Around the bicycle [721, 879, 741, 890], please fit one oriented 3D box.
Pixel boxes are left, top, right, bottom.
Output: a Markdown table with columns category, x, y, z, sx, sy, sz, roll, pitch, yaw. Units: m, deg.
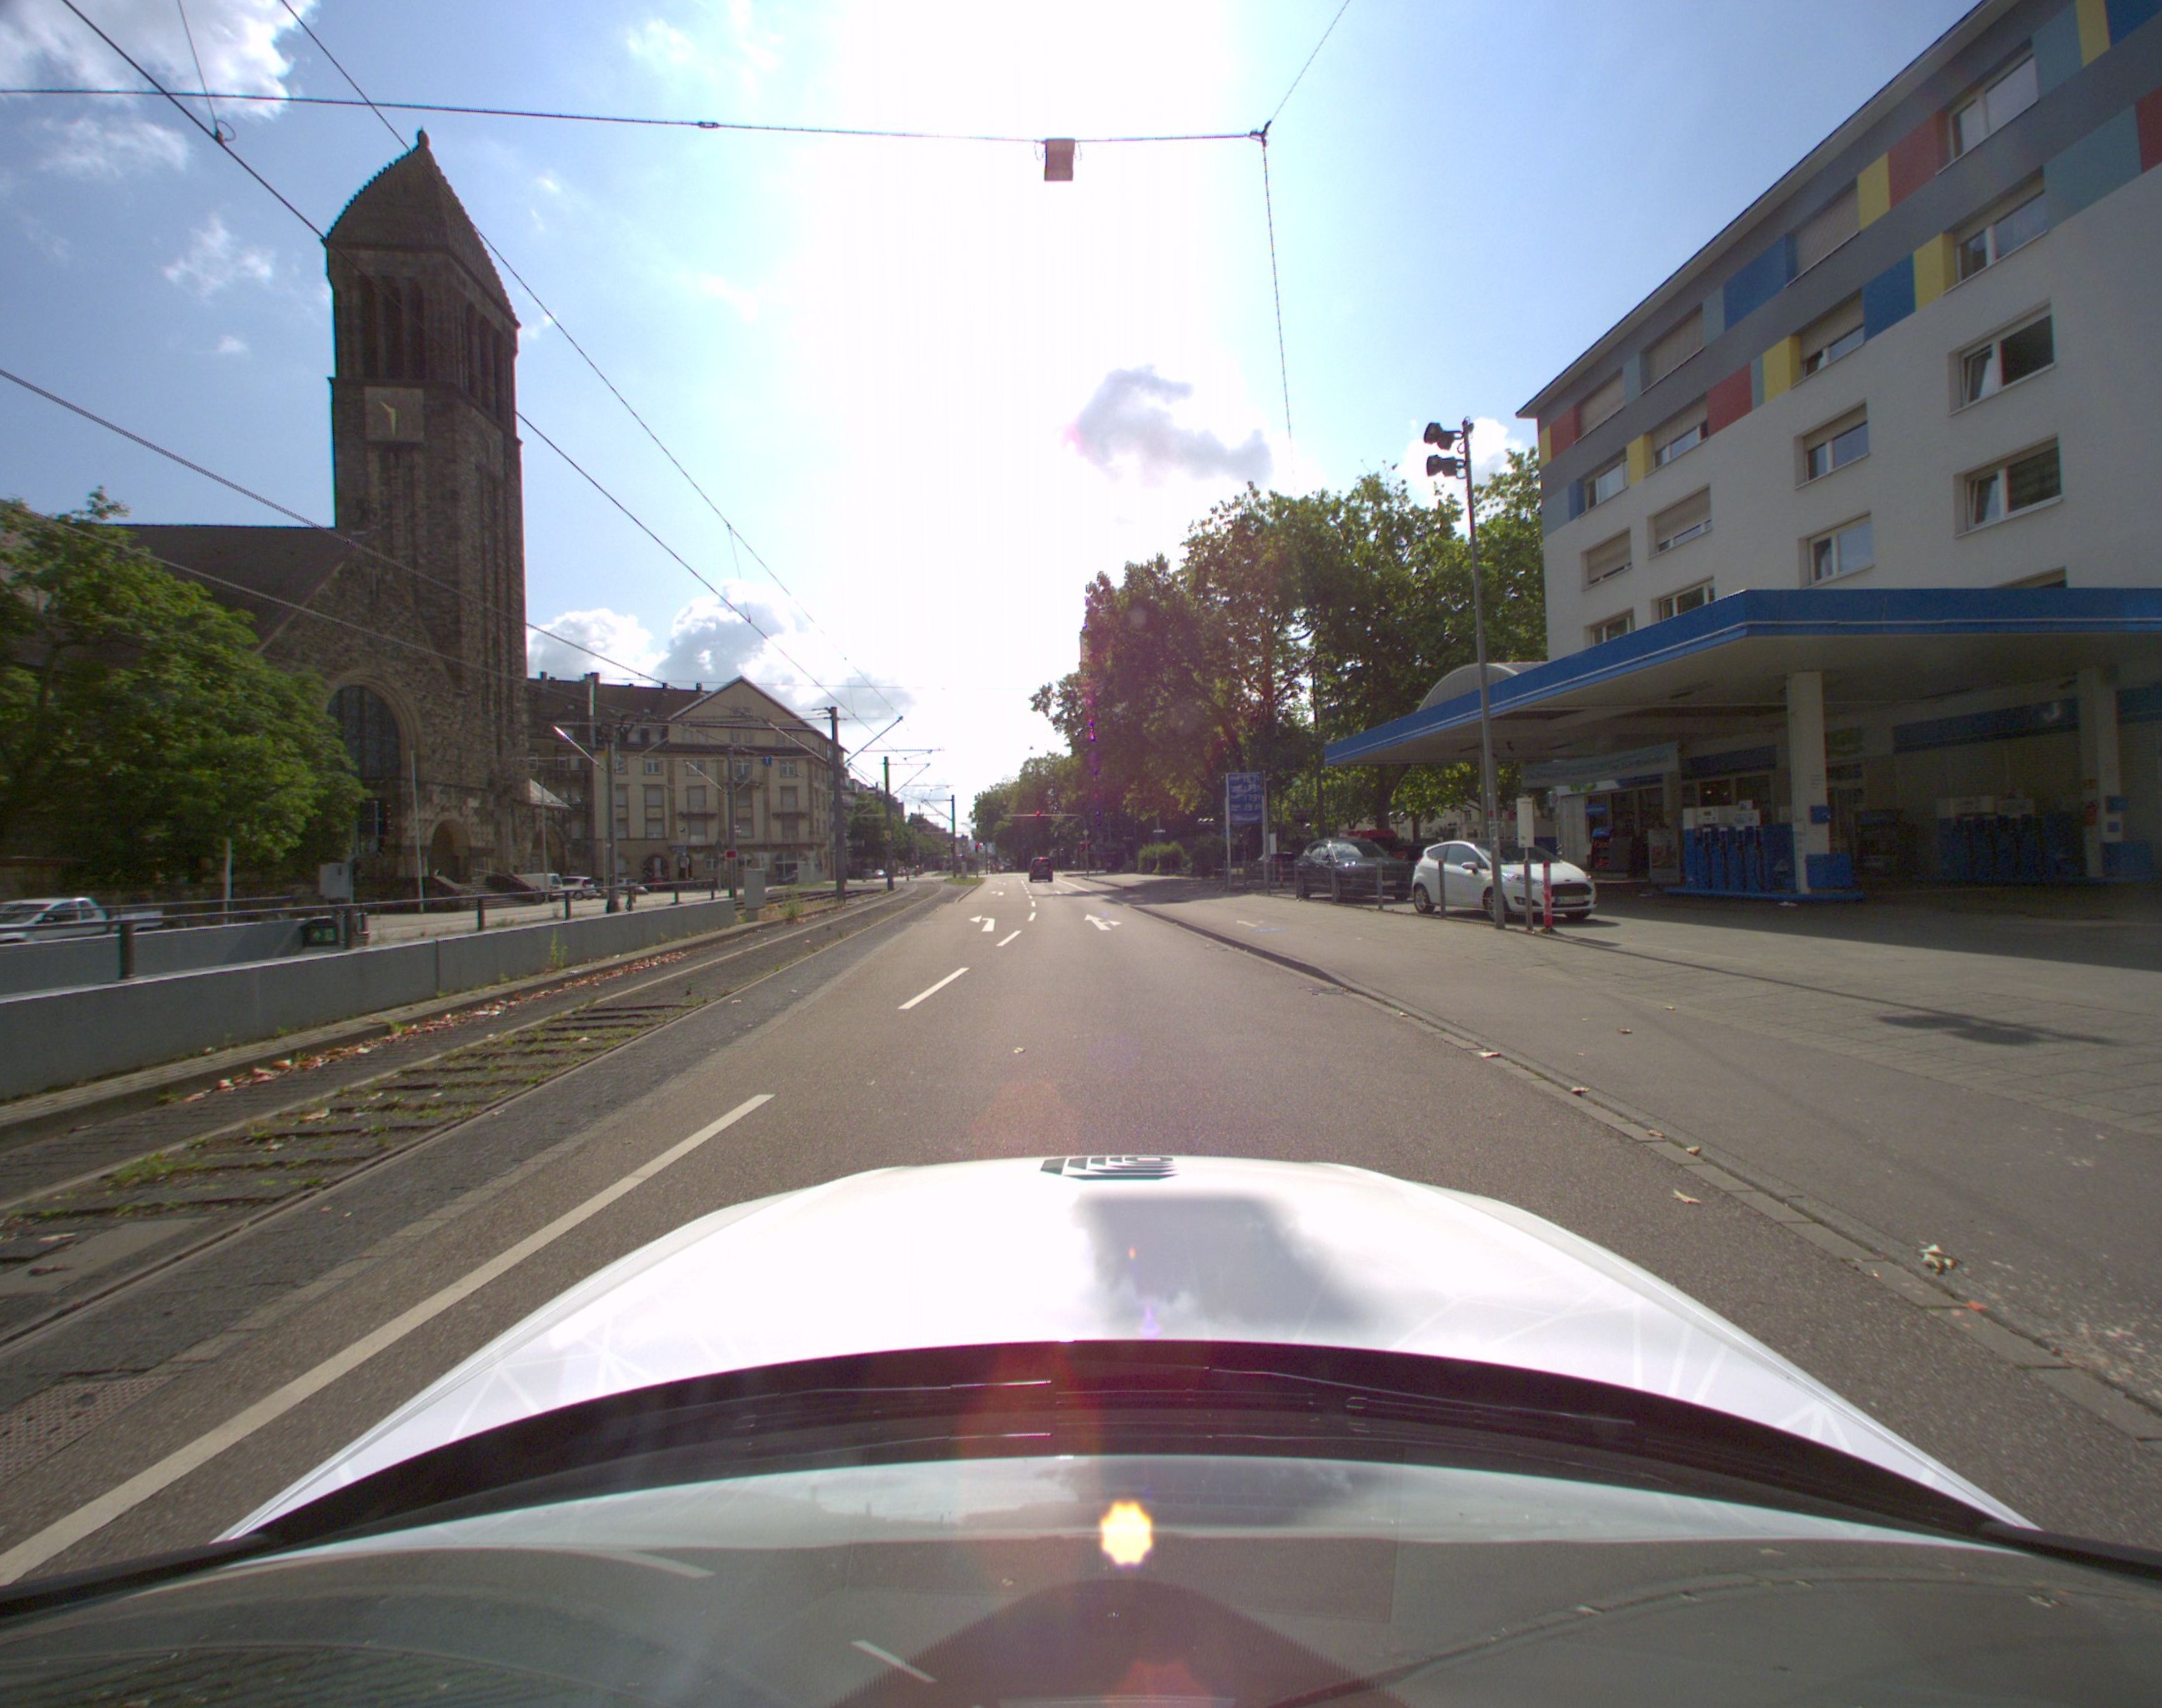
| category | x | y | z | sx | sy | sz | roll | pitch | yaw |
| --- | --- | --- | --- | --- | --- | --- | --- | --- | --- |
| bicycle | -38.686 | 3.346 | 90.090 | 0.799 | 1.053 | 2.571 | -2 | -1 | 7 |

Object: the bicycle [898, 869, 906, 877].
| category | x | y | z | sx | sy | sz | roll | pitch | yaw |
| --- | --- | --- | --- | --- | --- | --- | --- | --- | --- |
| bicycle | -26.714 | 2.853 | 121.538 | 0.893 | 1.048 | 2.304 | -2 | 0 | -5 |

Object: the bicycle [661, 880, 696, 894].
| category | x | y | z | sx | sy | sz | roll | pitch | yaw |
| --- | --- | --- | --- | --- | --- | --- | --- | --- | --- |
| bicycle | -42.752 | 3.507 | 86.481 | 3.288 | 1.253 | 1.002 | -3 | -1 | 11 |

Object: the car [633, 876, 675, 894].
| category | x | y | z | sx | sy | sz | roll | pitch | yaw |
| --- | --- | --- | --- | --- | --- | --- | --- | --- | --- |
| car | -44.693 | 3.278 | 85.221 | 3.949 | 1.674 | 2.012 | -3 | -1 | 27 |

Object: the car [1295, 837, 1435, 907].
| category | x | y | z | sx | sy | sz | roll | pitch | yaw |
| --- | --- | --- | --- | --- | --- | --- | --- | --- | --- |
| car | 7.344 | 0.456 | 21.611 | 1.802 | 1.602 | 4.575 | -2 | -1 | -4 |

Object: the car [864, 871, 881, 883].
| category | x | y | z | sx | sy | sz | roll | pitch | yaw |
| --- | --- | --- | --- | --- | --- | --- | --- | --- | --- |
| car | -35.935 | 3.968 | 140.444 | 1.990 | 2.014 | 3.993 | -2 | -1 | -5 |

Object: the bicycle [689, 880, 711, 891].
| category | x | y | z | sx | sy | sz | roll | pitch | yaw |
| --- | --- | --- | --- | --- | --- | --- | --- | --- | --- |
| bicycle | -40.317 | 3.323 | 86.188 | 1.987 | 1.114 | 0.481 | -2 | -1 | -42 |

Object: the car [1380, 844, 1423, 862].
| category | x | y | z | sx | sy | sz | roll | pitch | yaw |
| --- | --- | --- | --- | --- | --- | --- | --- | --- | --- |
| car | 39.664 | -0.143 | 100.858 | 4.406 | 2.014 | 2.074 | -2 | -1 | -4 |

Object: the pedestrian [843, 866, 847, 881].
| category | x | y | z | sx | sy | sz | roll | pitch | yaw |
| --- | --- | --- | --- | --- | --- | --- | --- | --- | --- |
| pedestrian | -32.129 | 2.685 | 110.934 | 0.477 | 2.014 | 0.418 | -2 | -1 | -10 |

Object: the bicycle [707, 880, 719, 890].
| category | x | y | z | sx | sy | sz | roll | pitch | yaw |
| --- | --- | --- | --- | --- | --- | --- | --- | --- | --- |
| bicycle | -40.304 | 3.371 | 89.165 | 0.809 | 1.053 | 2.539 | -2 | -1 | -34 |

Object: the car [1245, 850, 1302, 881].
| category | x | y | z | sx | sy | sz | roll | pitch | yaw |
| --- | --- | --- | --- | --- | --- | --- | --- | --- | --- |
| car | 9.957 | 0.597 | 42.416 | 1.647 | 1.470 | 4.034 | -2 | 0 | -6 |

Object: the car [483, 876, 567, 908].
| category | x | y | z | sx | sy | sz | roll | pitch | yaw |
| --- | --- | --- | --- | --- | --- | --- | --- | --- | --- |
| car | -35.161 | 2.378 | 51.601 | 3.868 | 1.748 | 1.890 | -2 | -1 | -8 |

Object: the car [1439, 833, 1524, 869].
| category | x | y | z | sx | sy | sz | roll | pitch | yaw |
| --- | --- | --- | --- | --- | --- | --- | --- | --- | --- |
| car | 21.146 | -0.137 | 43.244 | 2.002 | 1.754 | 4.646 | -1 | -1 | -3 |

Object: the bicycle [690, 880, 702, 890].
| category | x | y | z | sx | sy | sz | roll | pitch | yaw |
| --- | --- | --- | --- | --- | --- | --- | --- | --- | --- |
| bicycle | -41.734 | 3.385 | 88.258 | 0.746 | 1.053 | 2.539 | -2 | -1 | -34 |

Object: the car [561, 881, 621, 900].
| category | x | y | z | sx | sy | sz | roll | pitch | yaw |
| --- | --- | --- | --- | --- | --- | --- | --- | --- | --- |
| car | -44.339 | 3.301 | 73.799 | 4.583 | 1.436 | 1.691 | -2 | -1 | -29 |

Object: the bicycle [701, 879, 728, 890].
| category | x | y | z | sx | sy | sz | roll | pitch | yaw |
| --- | --- | --- | --- | --- | --- | --- | --- | --- | --- |
| bicycle | -39.424 | 3.331 | 87.693 | 2.576 | 1.053 | 0.675 | -2 | -1 | -33 |

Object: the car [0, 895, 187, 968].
| category | x | y | z | sx | sy | sz | roll | pitch | yaw |
| --- | --- | --- | --- | --- | --- | --- | --- | --- | --- |
| car | -25.904 | 1.913 | 20.619 | 1.929 | 1.504 | 4.403 | -2 | -1 | -7 |

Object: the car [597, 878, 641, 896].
| category | x | y | z | sx | sy | sz | roll | pitch | yaw |
| --- | --- | --- | --- | --- | --- | --- | --- | --- | --- |
| car | -47.571 | 3.386 | 83.861 | 3.954 | 1.639 | 1.811 | -3 | -1 | 19 |

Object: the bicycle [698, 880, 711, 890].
| category | x | y | z | sx | sy | sz | roll | pitch | yaw |
| --- | --- | --- | --- | --- | --- | --- | --- | --- | --- |
| bicycle | -41.022 | 3.378 | 88.683 | 0.809 | 1.053 | 2.539 | -2 | -1 | -34 |

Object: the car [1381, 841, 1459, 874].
| category | x | y | z | sx | sy | sz | roll | pitch | yaw |
| --- | --- | --- | --- | --- | --- | --- | --- | --- | --- |
| car | 18.110 | 0.222 | 43.779 | 2.002 | 1.651 | 4.646 | -1 | -1 | -3 |

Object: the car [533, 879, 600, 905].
| category | x | y | z | sx | sy | sz | roll | pitch | yaw |
| --- | --- | --- | --- | --- | --- | --- | --- | --- | --- |
| car | -34.665 | 2.545 | 54.937 | 3.262 | 1.502 | 1.850 | -2 | -1 | -7 |

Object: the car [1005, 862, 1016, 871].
| category | x | y | z | sx | sy | sz | roll | pitch | yaw |
| --- | --- | --- | --- | --- | --- | --- | --- | --- | --- |
| car | -13.558 | 2.424 | 156.793 | 1.860 | 1.753 | 3.993 | -3 | -1 | -5 |

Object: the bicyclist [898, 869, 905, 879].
| category | x | y | z | sx | sy | sz | roll | pitch | yaw |
| --- | --- | --- | --- | --- | --- | --- | --- | --- | --- |
| bicyclist | -26.735 | 3.014 | 121.360 | 0.777 | 1.511 | 0.998 | -2 | -1 | -7 |

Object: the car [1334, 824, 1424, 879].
| category | x | y | z | sx | sy | sz | roll | pitch | yaw |
| --- | --- | --- | --- | --- | --- | --- | --- | --- | --- |
| car | 15.490 | -0.091 | 42.779 | 2.107 | 2.582 | 6.012 | -2 | 0 | -3 |

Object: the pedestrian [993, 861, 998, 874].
| category | x | y | z | sx | sy | sz | roll | pitch | yaw |
| --- | --- | --- | --- | --- | --- | --- | --- | --- | --- |
| pedestrian | -11.711 | 1.815 | 111.628 | 0.658 | 1.784 | 0.659 | -2 | -1 | -5 |

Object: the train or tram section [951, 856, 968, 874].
| category | x | y | z | sx | sy | sz | roll | pitch | yaw |
| --- | --- | --- | --- | --- | --- | --- | --- | --- | --- |
| train or tram section | -23.424 | 2.162 | 157.958 | 2.237 | 3.331 | 12.949 | -2 | -1 | -4 |

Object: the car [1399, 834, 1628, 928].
| category | x | y | z | sx | sy | sz | roll | pitch | yaw |
| --- | --- | --- | --- | --- | --- | --- | --- | --- | --- |
| car | 7.709 | 0.451 | 15.023 | 1.803 | 1.455 | 3.993 | -2 | -1 | -6 |

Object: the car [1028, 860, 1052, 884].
| category | x | y | z | sx | sy | sz | roll | pitch | yaw |
| --- | --- | --- | --- | --- | --- | --- | --- | --- | --- |
| car | -3.147 | 1.360 | 62.540 | 1.747 | 1.809 | 3.469 | -1 | -1 | -5 |

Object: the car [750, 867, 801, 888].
| category | x | y | z | sx | sy | sz | roll | pitch | yaw |
| --- | --- | --- | --- | --- | --- | --- | --- | --- | --- |
| car | -33.024 | 2.530 | 88.048 | 4.821 | 2.013 | 1.980 | -2 | -1 | -31 |
